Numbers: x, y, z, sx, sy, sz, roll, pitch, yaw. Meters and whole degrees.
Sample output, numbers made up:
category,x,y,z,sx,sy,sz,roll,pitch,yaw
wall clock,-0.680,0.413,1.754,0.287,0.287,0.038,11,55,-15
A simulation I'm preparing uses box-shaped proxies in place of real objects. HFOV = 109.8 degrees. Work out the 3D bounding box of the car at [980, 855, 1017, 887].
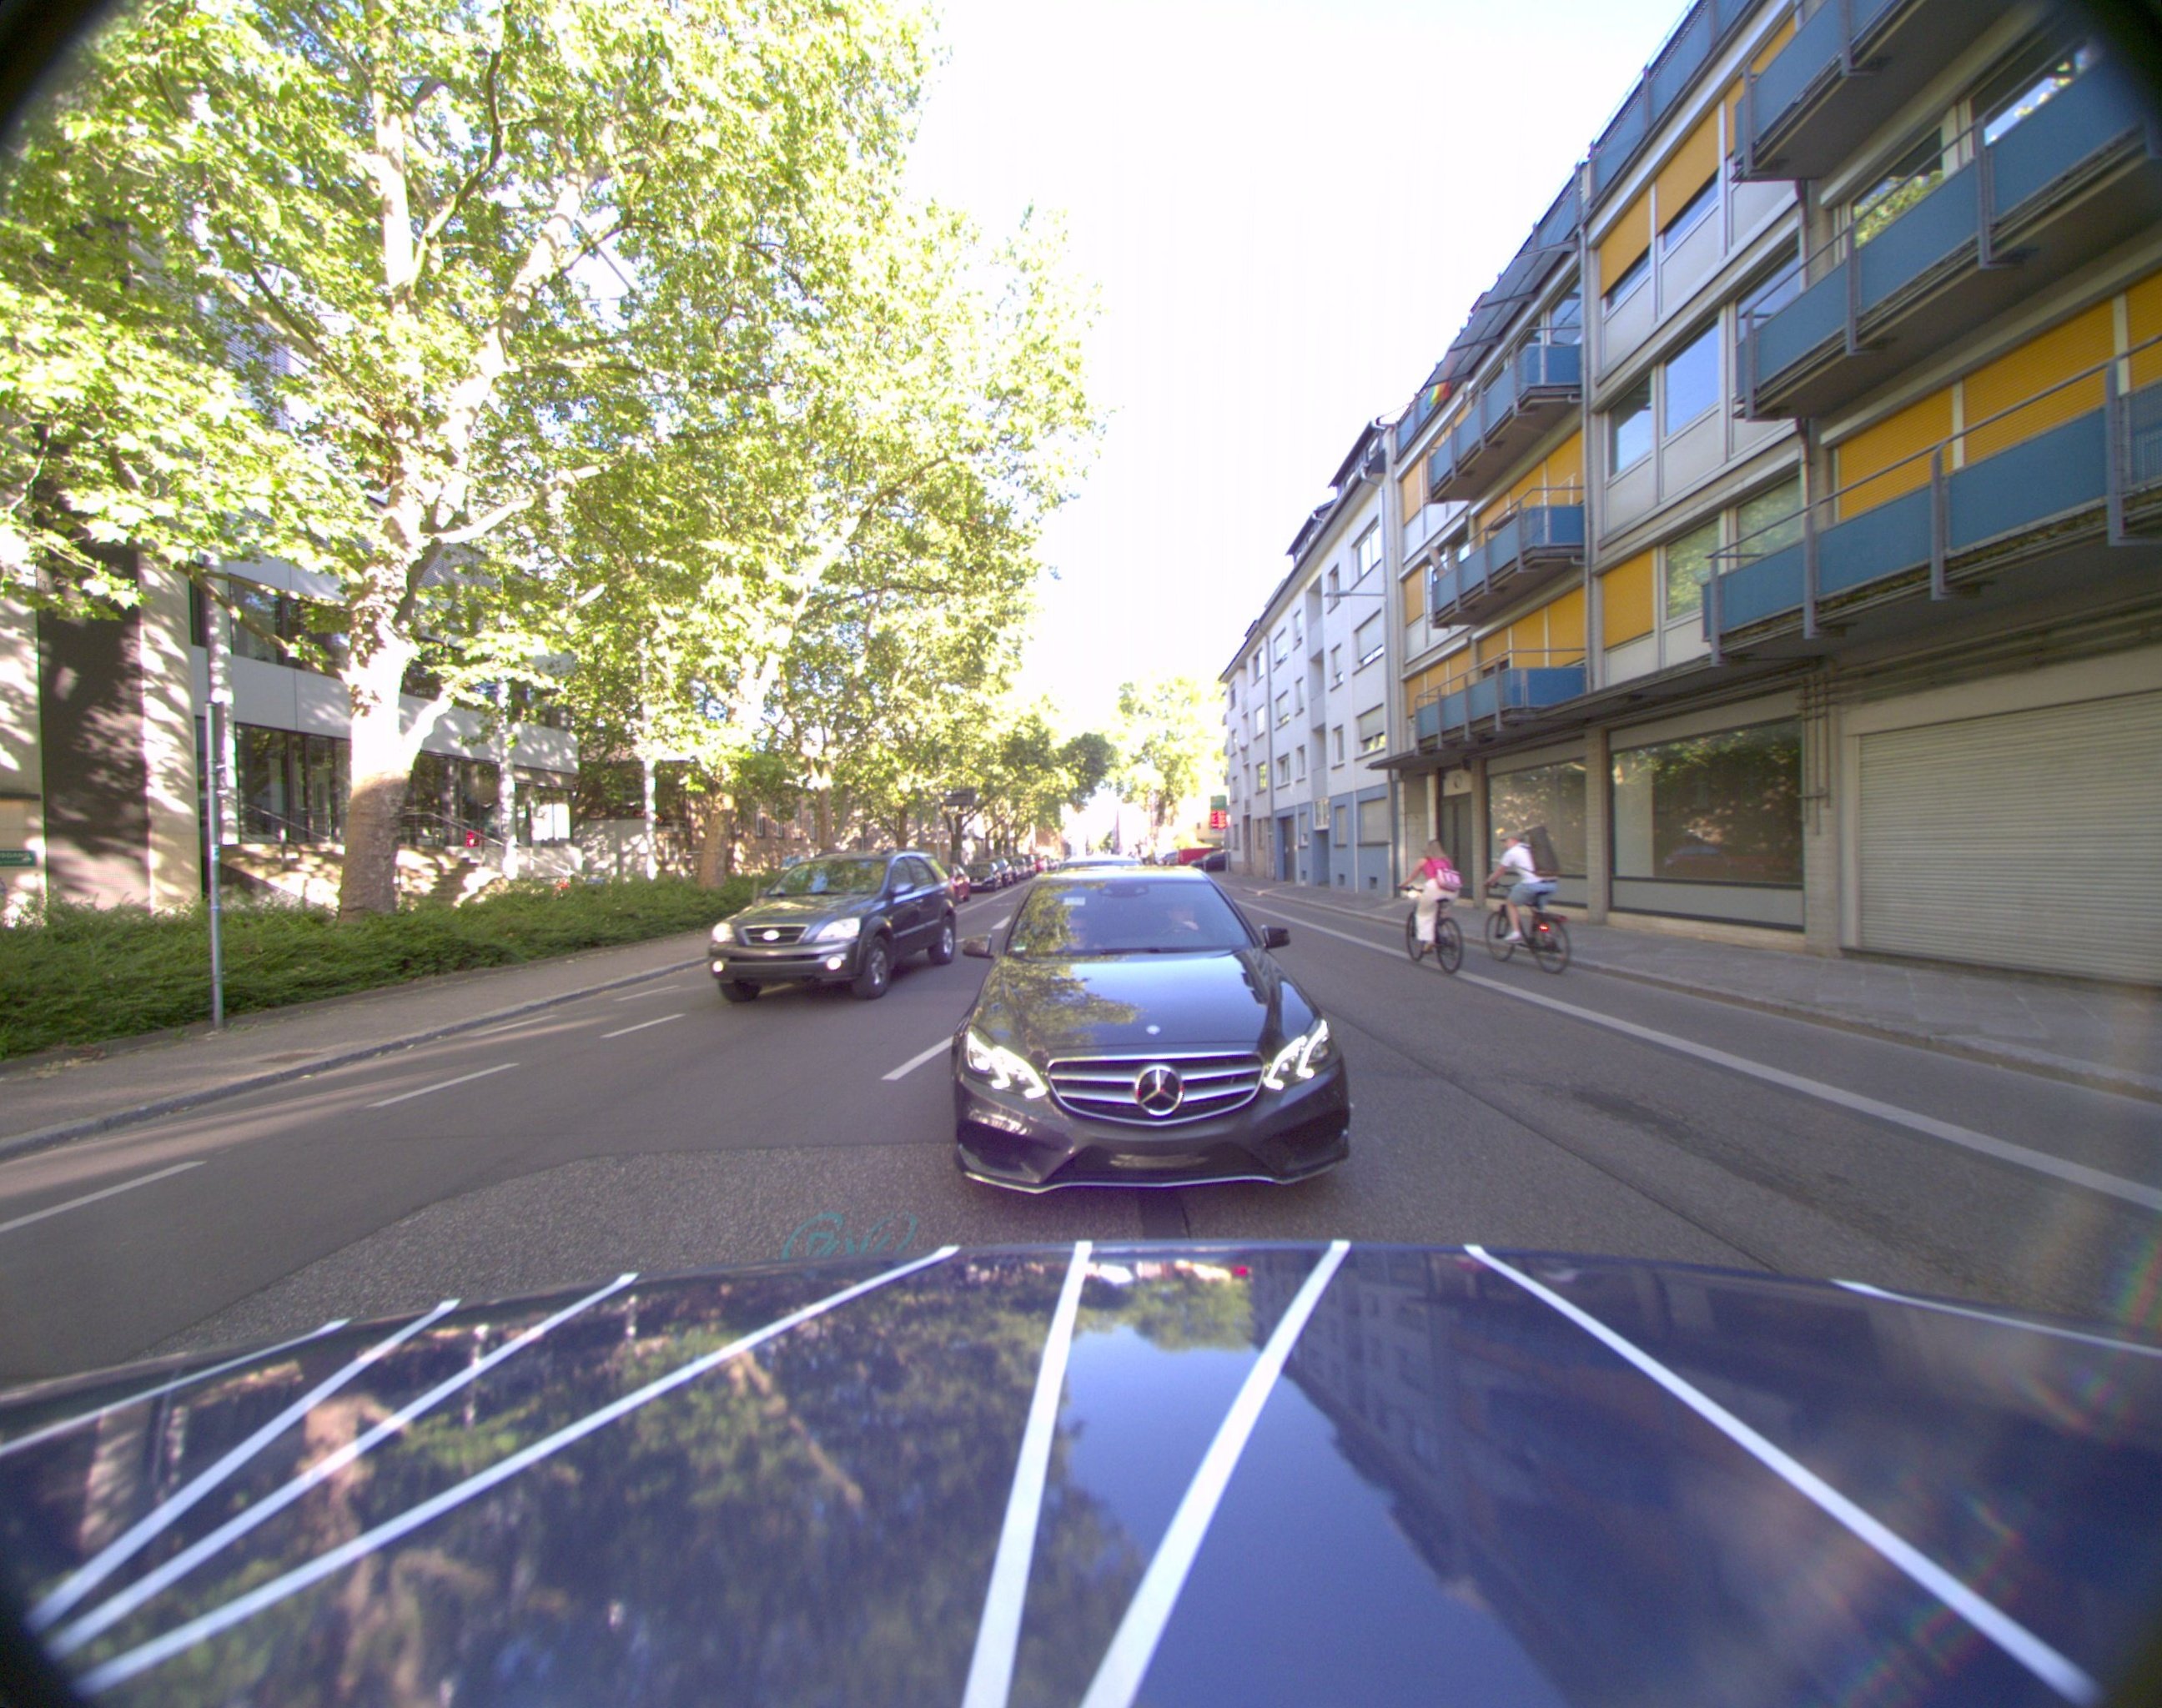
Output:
category,x,y,z,sx,sy,sz,roll,pitch,yaw
car,-4.547,0.909,42.359,1.634,1.677,3.907,-2,0,0

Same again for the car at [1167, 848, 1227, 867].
category,x,y,z,sx,sy,sz,roll,pitch,yaw
car,10.161,0.283,66.697,4.990,1.486,2.000,-2,0,1

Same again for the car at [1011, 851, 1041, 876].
category,x,y,z,sx,sy,sz,roll,pitch,yaw
car,-4.277,0.718,59.844,1.992,1.795,4.376,-2,0,0

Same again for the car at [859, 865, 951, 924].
category,x,y,z,sx,sy,sz,roll,pitch,yaw
car,-5.139,1.137,22.765,1.741,1.444,4.091,-4,0,0

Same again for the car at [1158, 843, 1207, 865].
category,x,y,z,sx,sy,sz,roll,pitch,yaw
car,11.038,-0.010,82.818,4.990,2.181,2.000,-2,1,1

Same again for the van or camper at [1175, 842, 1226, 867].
category,x,y,z,sx,sy,sz,roll,pitch,yaw
van or camper,10.060,0.022,64.194,3.997,2.002,2.000,-2,1,0

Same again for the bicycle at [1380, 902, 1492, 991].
category,x,y,z,sx,sy,sz,roll,pitch,yaw
bicycle,4.577,1.159,9.935,0.695,0.924,1.864,-2,0,4

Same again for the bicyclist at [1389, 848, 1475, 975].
category,x,y,z,sx,sy,sz,roll,pitch,yaw
bicyclist,4.560,0.719,9.933,0.686,1.569,0.982,-2,1,4

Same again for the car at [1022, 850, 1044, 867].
category,x,y,z,sx,sy,sz,roll,pitch,yaw
car,-4.383,0.434,70.441,1.741,1.469,4.091,-2,0,0

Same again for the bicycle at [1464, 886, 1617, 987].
category,x,y,z,sx,sy,sz,roll,pitch,yaw
bicycle,5.862,1.010,9.846,0.865,1.072,1.836,-2,0,1

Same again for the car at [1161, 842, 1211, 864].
category,x,y,z,sx,sy,sz,roll,pitch,yaw
car,11.035,-0.103,80.186,4.990,2.181,2.000,-2,1,1

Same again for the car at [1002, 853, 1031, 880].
category,x,y,z,sx,sy,sz,roll,pitch,yaw
car,-4.612,0.865,54.711,1.741,1.785,3.895,-2,0,0

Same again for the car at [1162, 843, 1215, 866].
category,x,y,z,sx,sy,sz,roll,pitch,yaw
car,10.914,0.024,77.335,4.990,2.181,2.000,-2,1,1

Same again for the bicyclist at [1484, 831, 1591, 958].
category,x,y,z,sx,sy,sz,roll,pitch,yaw
bicyclist,5.837,0.500,9.762,0.844,1.546,0.839,-2,1,0

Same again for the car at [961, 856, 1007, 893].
category,x,y,z,sx,sy,sz,roll,pitch,yaw
car,-4.712,0.959,37.426,1.741,1.622,4.091,-2,0,0

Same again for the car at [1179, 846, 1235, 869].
category,x,y,z,sx,sy,sz,roll,pitch,yaw
car,10.138,0.268,61.287,4.146,1.681,2.000,-2,0,1

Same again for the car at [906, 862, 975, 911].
category,x,y,z,sx,sy,sz,roll,pitch,yaw
car,-5.018,1.129,27.605,1.681,1.484,3.918,-4,0,0

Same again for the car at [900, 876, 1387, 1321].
category,x,y,z,sx,sy,sz,roll,pitch,yaw
car,0.226,0.949,4.705,1.740,1.448,3.864,-2,0,0

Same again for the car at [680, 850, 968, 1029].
category,x,y,z,sx,sy,sz,roll,pitch,yaw
car,-2.998,0.888,10.042,1.784,1.760,4.386,-3,0,7

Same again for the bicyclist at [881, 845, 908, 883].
category,x,y,z,sx,sy,sz,roll,pitch,yaw
bicyclist,-8.212,0.423,33.473,1.037,1.610,0.697,-2,1,-7

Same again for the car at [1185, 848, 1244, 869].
category,x,y,z,sx,sy,sz,roll,pitch,yaw
car,10.315,0.323,58.957,4.146,1.486,2.000,-2,0,1

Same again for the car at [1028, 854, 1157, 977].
category,x,y,z,sx,sy,sz,roll,pitch,yaw
car,0.183,0.831,12.533,1.646,1.520,4.619,-4,0,1
